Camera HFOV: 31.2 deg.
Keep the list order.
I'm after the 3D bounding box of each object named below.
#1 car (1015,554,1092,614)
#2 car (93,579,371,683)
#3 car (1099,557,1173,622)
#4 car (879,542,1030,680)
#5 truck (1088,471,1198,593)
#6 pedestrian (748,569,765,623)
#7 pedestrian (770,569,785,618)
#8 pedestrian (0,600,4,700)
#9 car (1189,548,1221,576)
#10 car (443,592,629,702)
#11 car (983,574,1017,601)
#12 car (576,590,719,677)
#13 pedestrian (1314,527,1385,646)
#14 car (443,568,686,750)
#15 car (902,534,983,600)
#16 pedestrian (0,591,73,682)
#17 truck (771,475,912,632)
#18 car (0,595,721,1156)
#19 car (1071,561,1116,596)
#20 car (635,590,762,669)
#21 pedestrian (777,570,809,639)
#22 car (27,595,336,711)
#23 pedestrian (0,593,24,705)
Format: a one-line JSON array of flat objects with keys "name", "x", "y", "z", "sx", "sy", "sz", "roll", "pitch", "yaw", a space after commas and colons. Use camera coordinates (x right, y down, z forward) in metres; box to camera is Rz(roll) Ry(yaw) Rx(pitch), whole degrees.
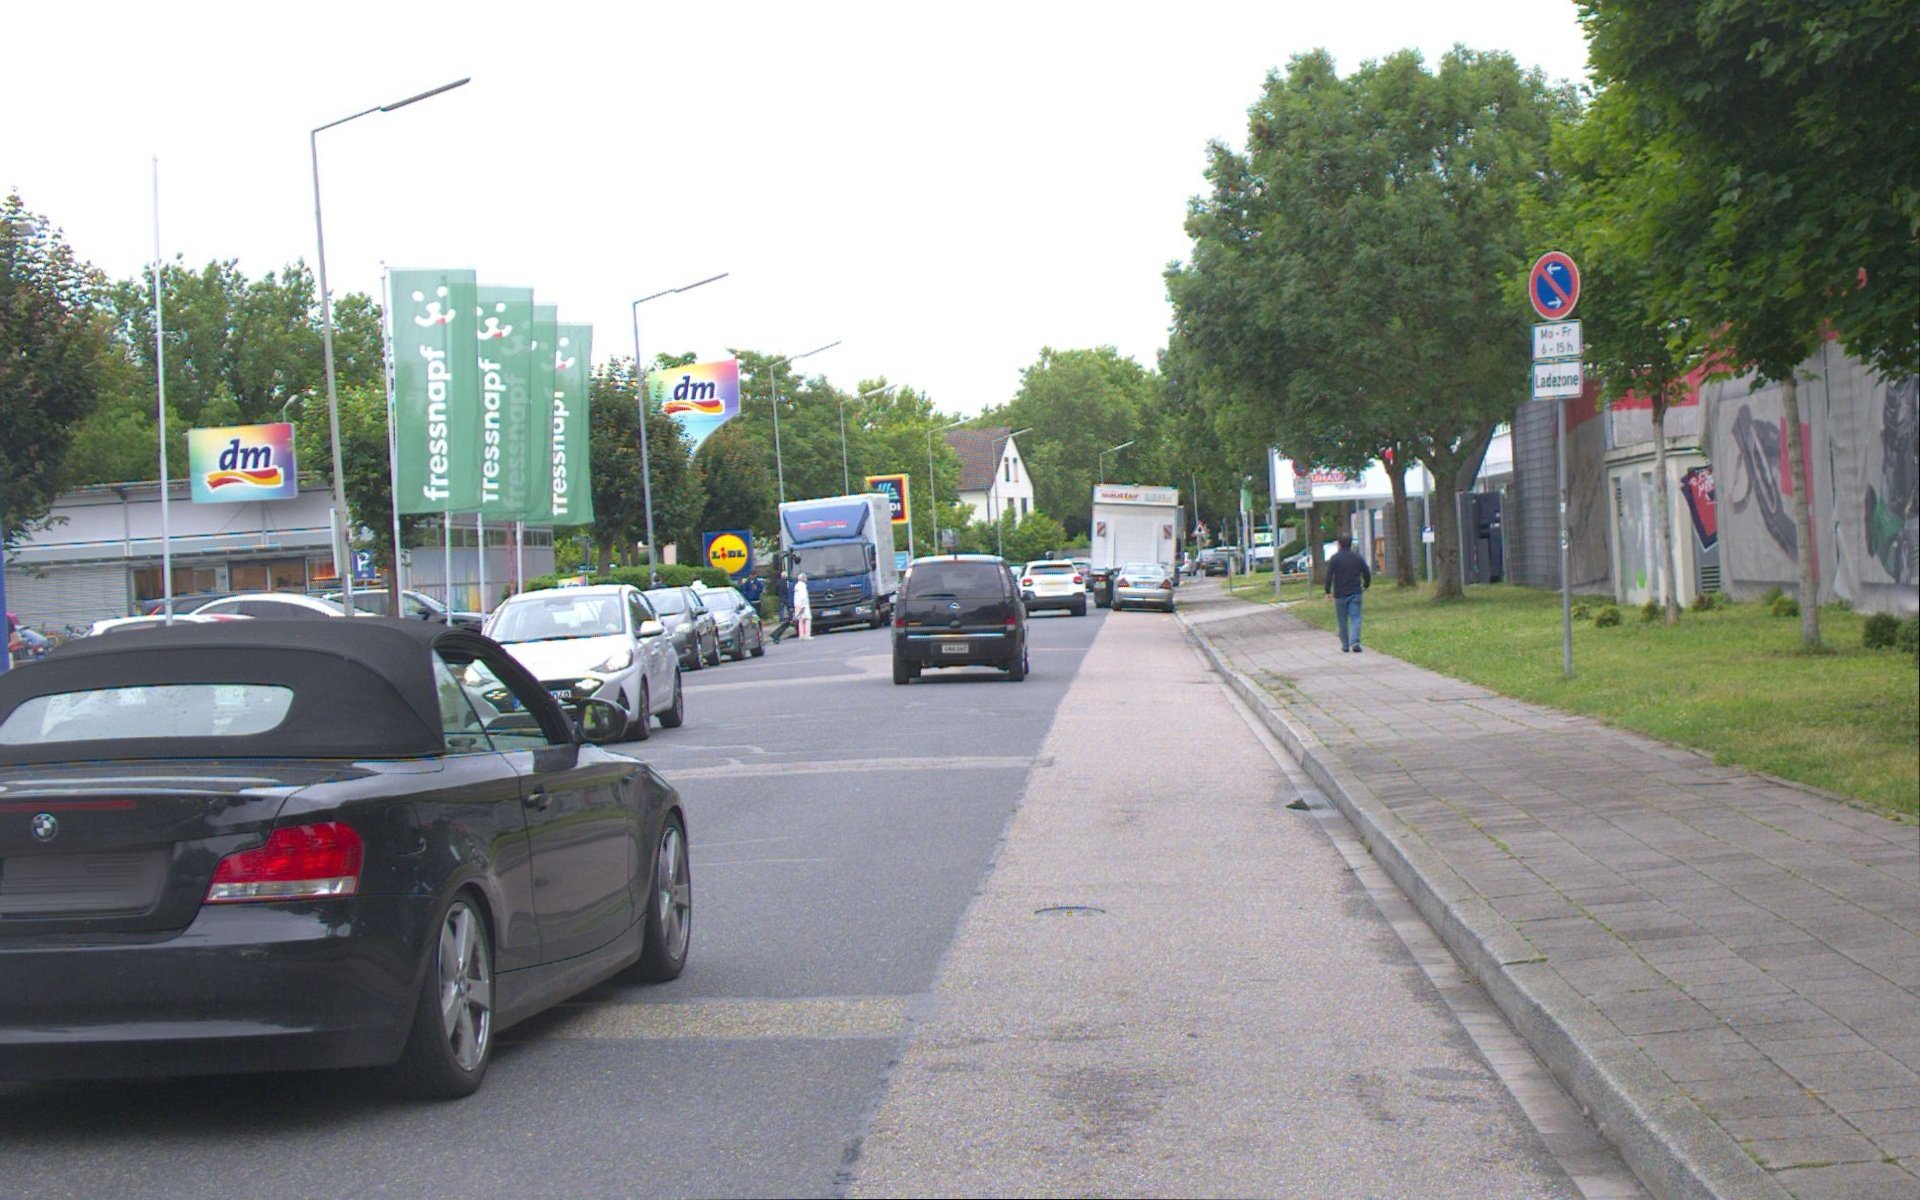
[{"name": "car", "x": 2.541, "y": -0.449, "z": 92.932, "sx": 1.887, "sy": 1.526, "sz": 4.253, "roll": -1, "pitch": 1, "yaw": 4}, {"name": "car", "x": -11.940, "y": 0.495, "z": 56.551, "sx": 4.135, "sy": 1.458, "sz": 1.899, "roll": -3, "pitch": 0, "yaw": -2}, {"name": "car", "x": 5.061, "y": -0.303, "z": 99.250, "sx": 1.993, "sy": 1.800, "sz": 4.000, "roll": -2, "pitch": 0, "yaw": 2}, {"name": "car", "x": -0.032, "y": 0.110, "z": 44.592, "sx": 1.681, "sy": 1.626, "sz": 3.758, "roll": -3, "pitch": 1, "yaw": 3}, {"name": "truck", "x": 5.686, "y": -2.056, "z": 108.418, "sx": 3.135, "sy": 3.572, "sz": 10.050, "roll": -2, "pitch": 0, "yaw": 2}, {"name": "pedestrian", "x": -5.861, "y": -0.128, "z": 99.007, "sx": 0.401, "sy": 1.526, "sz": 0.485, "roll": -3, "pitch": 0, "yaw": -3}, {"name": "pedestrian", "x": -5.770, "y": -0.198, "z": 108.794, "sx": 0.401, "sy": 1.526, "sz": 0.485, "roll": -3, "pitch": 0, "yaw": -3}, {"name": "pedestrian", "x": -15.235, "y": 0.788, "z": 53.985, "sx": 0.330, "sy": 1.565, "sz": 0.504, "roll": -2, "pitch": 0, "yaw": -8}, {"name": "car", "x": 14.900, "y": -2.302, "z": 209.010, "sx": 1.887, "sy": 1.677, "sz": 4.253, "roll": -1, "pitch": 1, "yaw": 4}, {"name": "car", "x": -6.007, "y": 0.641, "z": 49.135, "sx": 1.898, "sy": 1.362, "sz": 4.000, "roll": -3, "pitch": 1, "yaw": 3}, {"name": "car", "x": 2.078, "y": -0.635, "z": 177.021, "sx": 1.542, "sy": 1.361, "sz": 3.428, "roll": -2, "pitch": 0, "yaw": 3}, {"name": "car", "x": -5.519, "y": 0.571, "z": 61.065, "sx": 1.898, "sy": 1.362, "sz": 4.000, "roll": -3, "pitch": 1, "yaw": 3}, {"name": "pedestrian", "x": 5.428, "y": -0.187, "z": 47.899, "sx": 0.919, "sy": 1.629, "sz": 0.852, "roll": -2, "pitch": 0, "yaw": 5}, {"name": "car", "x": -3.720, "y": 0.528, "z": 32.844, "sx": 1.599, "sy": 1.523, "sz": 3.527, "roll": -4, "pitch": 0, "yaw": 4}, {"name": "car", "x": -0.456, "y": -0.870, "z": 92.857, "sx": 1.993, "sy": 1.678, "sz": 4.000, "roll": -2, "pitch": 0, "yaw": 2}, {"name": "pedestrian", "x": -21.733, "y": 0.856, "z": 80.480, "sx": 1.383, "sy": 2.007, "sz": 1.210, "roll": -4, "pitch": 1, "yaw": -37}, {"name": "truck", "x": -3.187, "y": -1.288, "z": 94.492, "sx": 2.974, "sy": 3.942, "sz": 6.404, "roll": -4, "pitch": 1, "yaw": 4}, {"name": "car", "x": -2.054, "y": 0.715, "z": 10.767, "sx": 1.746, "sy": 1.354, "sz": 4.136, "roll": -3, "pitch": 0, "yaw": 8}, {"name": "car", "x": 6.040, "y": -0.968, "z": 155.204, "sx": 1.887, "sy": 1.526, "sz": 4.253, "roll": -1, "pitch": 1, "yaw": 4}, {"name": "car", "x": -5.059, "y": 0.549, "z": 66.949, "sx": 1.898, "sy": 1.362, "sz": 4.000, "roll": -3, "pitch": 1, "yaw": 3}, {"name": "pedestrian", "x": -4.063, "y": 0.100, "z": 83.519, "sx": 0.631, "sy": 1.631, "sz": 0.668, "roll": -3, "pitch": 0, "yaw": 2}, {"name": "car", "x": -11.640, "y": 0.778, "z": 51.614, "sx": 4.202, "sy": 1.458, "sz": 1.953, "roll": -3, "pitch": 0, "yaw": -4}, {"name": "pedestrian", "x": -14.804, "y": 0.755, "z": 53.635, "sx": 0.262, "sy": 1.724, "sz": 0.422, "roll": -3, "pitch": 0, "yaw": -9}]
